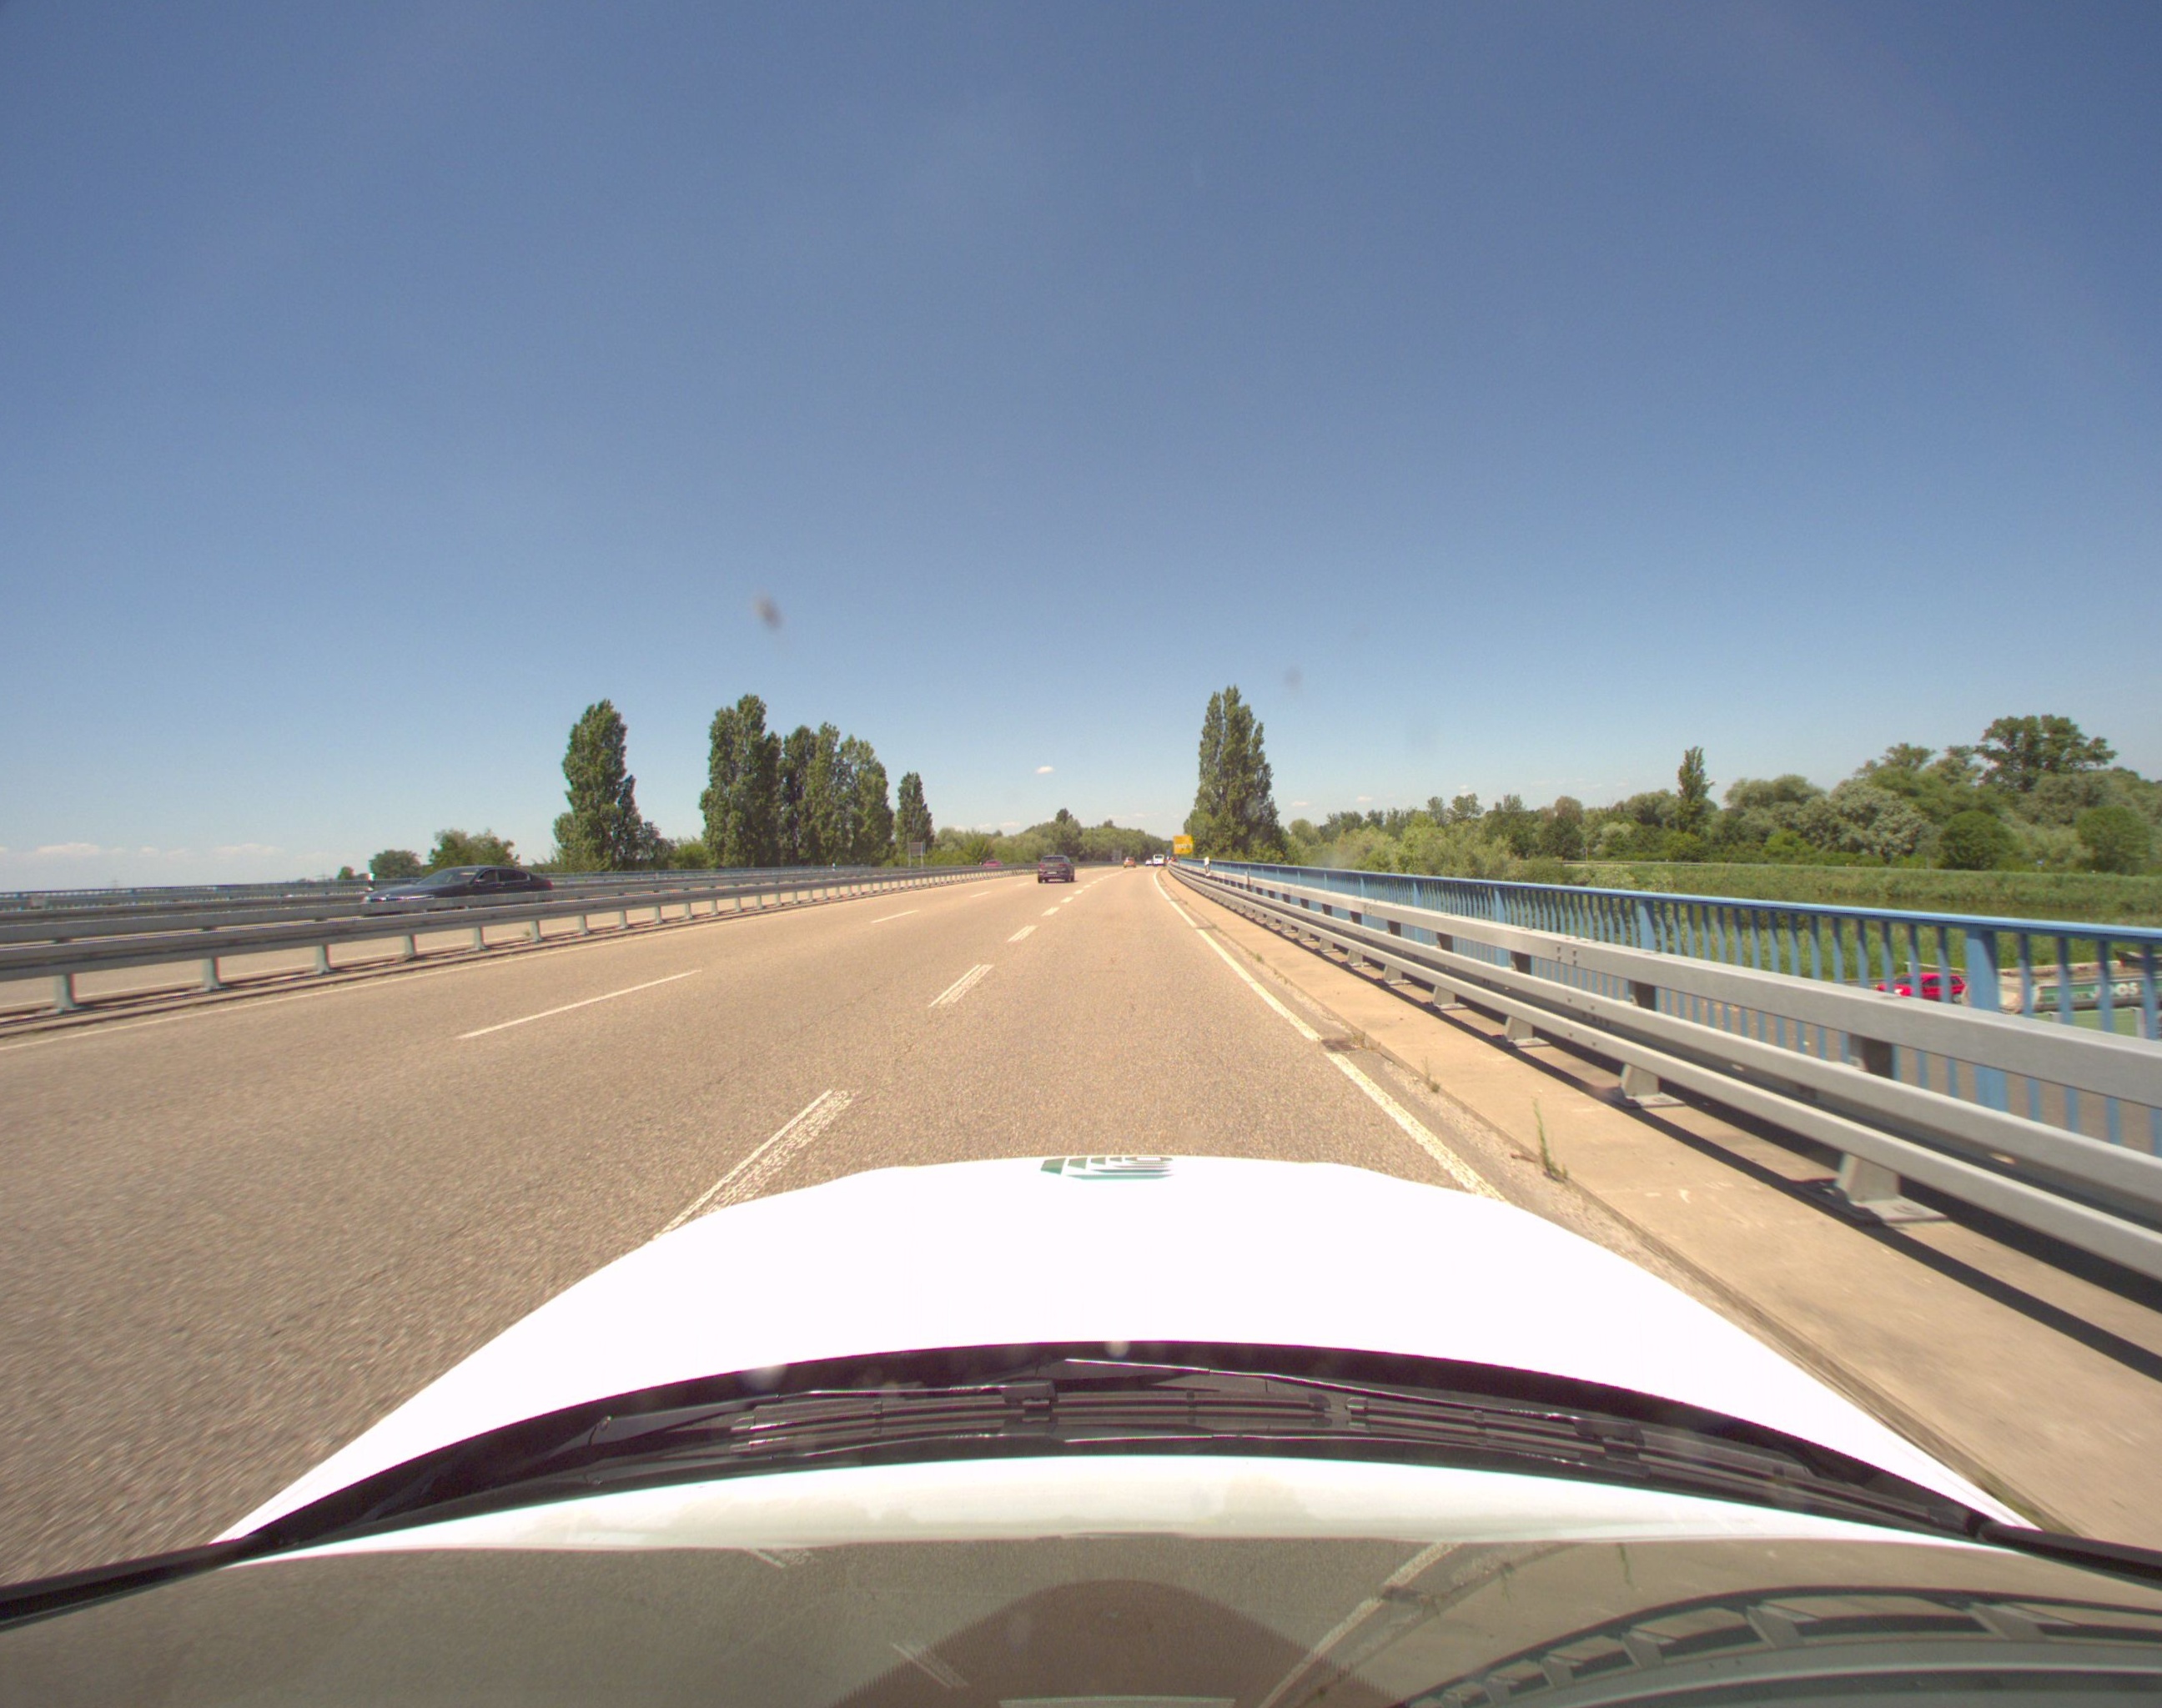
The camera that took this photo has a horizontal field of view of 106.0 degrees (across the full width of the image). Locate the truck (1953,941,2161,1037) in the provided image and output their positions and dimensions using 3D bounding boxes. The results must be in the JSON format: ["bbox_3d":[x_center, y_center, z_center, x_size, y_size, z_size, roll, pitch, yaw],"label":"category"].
[{"bbox_3d":[47.870,6.143,37.728,11.862,3.424,2.876,-3,1,0],"label":"truck"}]

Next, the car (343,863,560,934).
[{"bbox_3d":[-16.825,1.121,22.199,1.836,1.668,5.053,-2,-1,2],"label":"car"}]

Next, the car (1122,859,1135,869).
[{"bbox_3d":[7.219,1.444,123.454,1.833,1.464,4.003,0,0,3],"label":"car"}]

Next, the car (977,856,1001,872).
[{"bbox_3d":[-10.693,1.174,95.129,1.835,1.668,5.055,-2,-1,4],"label":"car"}]

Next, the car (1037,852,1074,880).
[{"bbox_3d":[-1.448,0.664,47.064,1.834,1.530,4.472,0,0,2],"label":"car"}]

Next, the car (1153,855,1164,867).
[{"bbox_3d":[12.654,1.150,133.261,1.832,1.895,4.006,0,0,5],"label":"car"}]

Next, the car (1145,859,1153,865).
[{"bbox_3d":[15.889,1.886,190.428,1.832,1.451,4.007,0,0,6],"label":"car"}]
